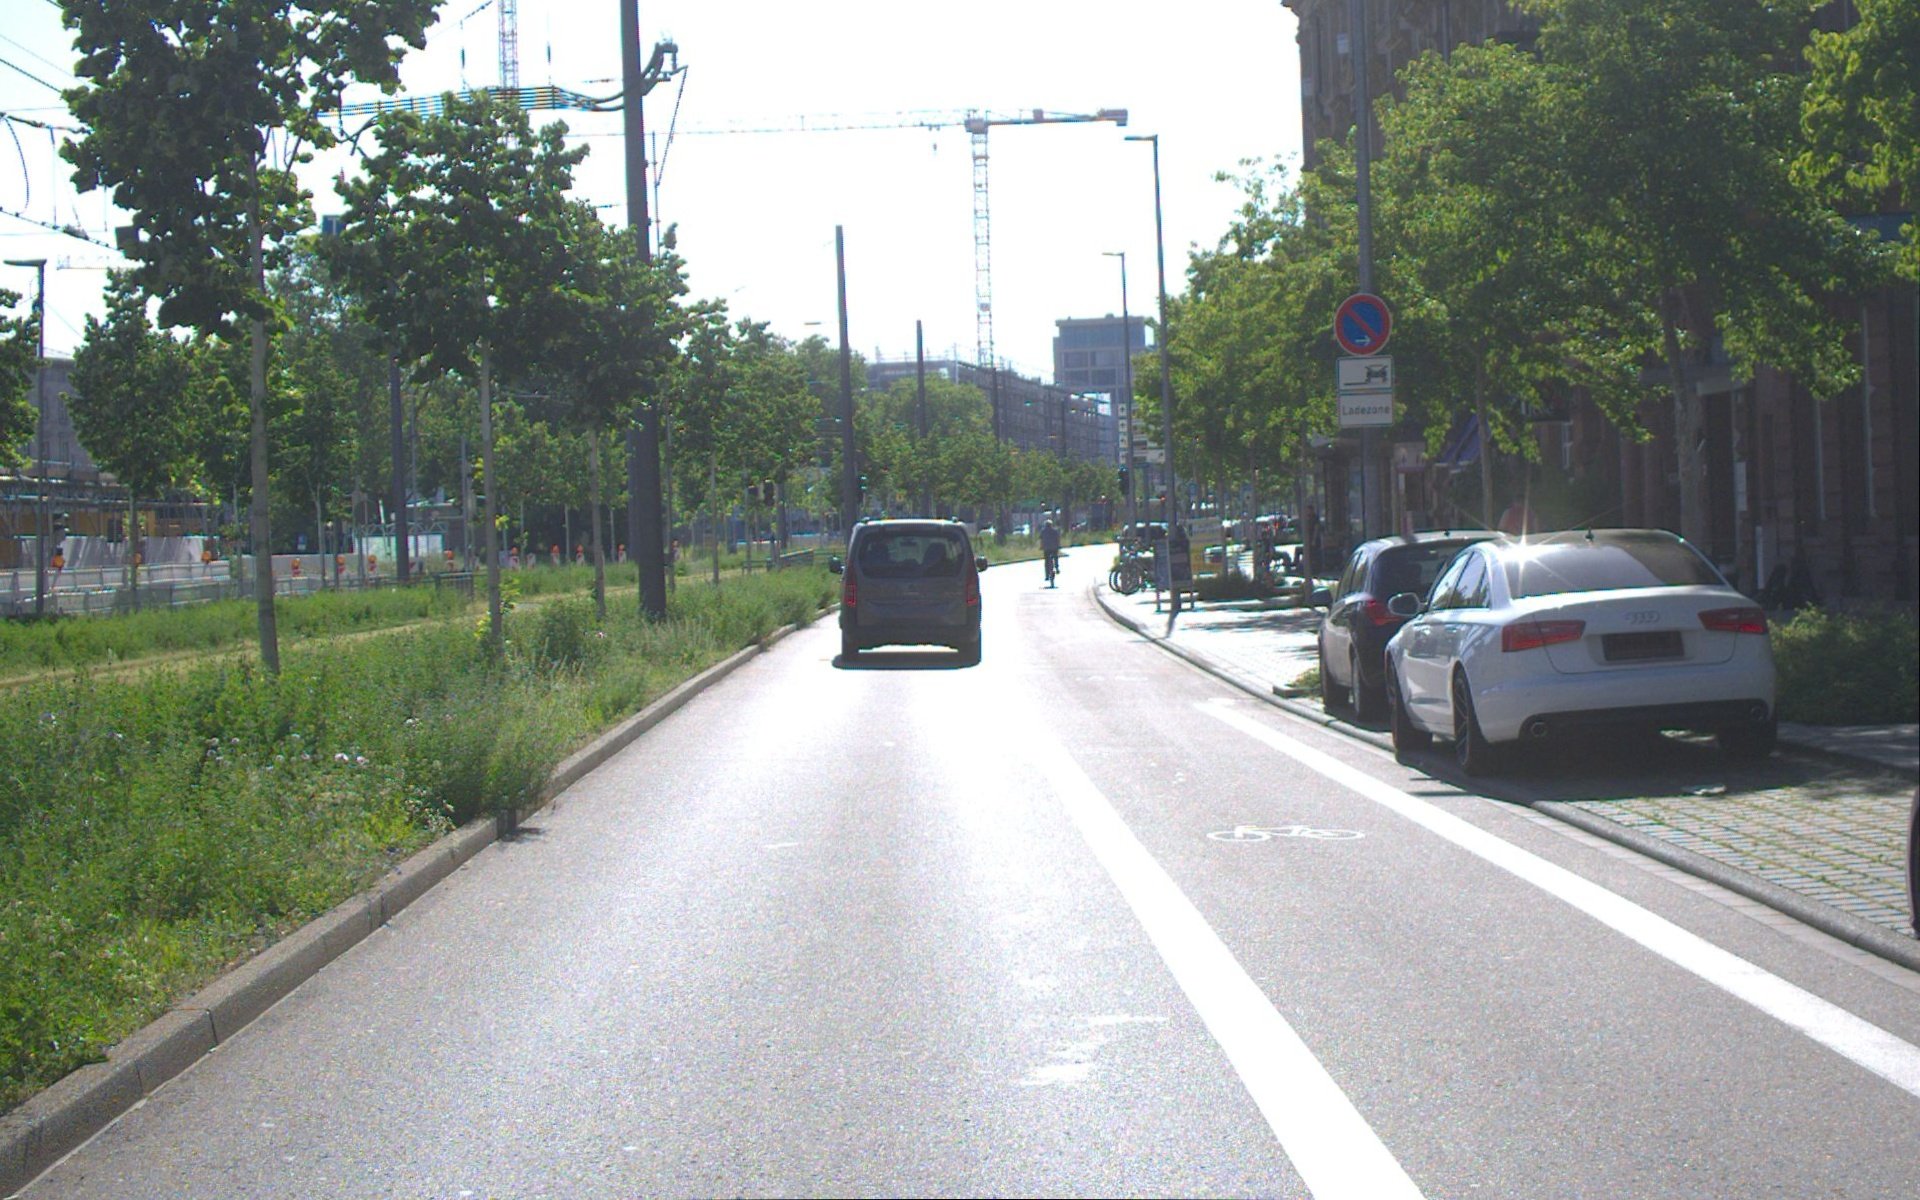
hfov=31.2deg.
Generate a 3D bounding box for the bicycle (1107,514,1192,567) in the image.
[{"bbox_3d":[4.481,-1.406,81.361,1.824,1.075,0.665,-5,1,-6],"label":"bicycle"}]

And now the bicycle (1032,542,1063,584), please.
[{"bbox_3d":[2.357,-1.000,92.812,0.701,1.087,2.277,-2,1,-1],"label":"bicycle"}]

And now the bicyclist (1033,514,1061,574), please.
[{"bbox_3d":[2.348,-1.520,92.828,0.683,1.579,0.840,-2,1,-1],"label":"bicyclist"}]

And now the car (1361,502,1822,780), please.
[{"bbox_3d":[3.956,0.179,22.470,1.951,1.490,5.105,-4,1,0],"label":"car"}]

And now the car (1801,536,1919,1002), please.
[{"bbox_3d":[3.974,0.501,9.765,1.765,1.472,4.449,-4,1,-3],"label":"car"}]

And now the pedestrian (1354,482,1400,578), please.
[{"bbox_3d":[8.926,-1.498,73.648,0.817,2.007,1.046,-1,-1,0],"label":"pedestrian"}]

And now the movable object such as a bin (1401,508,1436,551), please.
[{"bbox_3d":[9.960,-1.527,74.722,0.604,0.913,0.650,-2,2,-5],"label":"movable object such as a bin"}]

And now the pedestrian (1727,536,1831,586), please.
[{"bbox_3d":[10.246,-0.500,43.078,0.773,0.551,2.008,-2,2,-1],"label":"pedestrian"}]

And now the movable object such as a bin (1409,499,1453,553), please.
[{"bbox_3d":[9.808,-1.546,71.591,0.725,1.094,0.748,-2,2,-5],"label":"movable object such as a bin"}]

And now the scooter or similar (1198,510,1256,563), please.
[{"bbox_3d":[5.978,-1.423,76.973,1.220,1.102,0.783,-3,2,3],"label":"scooter or similar"}]

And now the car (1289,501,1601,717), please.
[{"bbox_3d":[4.023,0.043,29.205,1.884,1.564,4.221,-4,1,-1],"label":"car"}]

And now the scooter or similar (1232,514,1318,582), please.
[{"bbox_3d":[6.136,-1.015,67.006,1.473,1.212,0.602,-5,3,-10],"label":"scooter or similar"}]

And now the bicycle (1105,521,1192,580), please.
[{"bbox_3d":[4.382,-1.151,79.830,1.878,1.229,0.500,-5,1,-6],"label":"bicycle"}]

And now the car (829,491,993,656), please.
[{"bbox_3d":[-0.629,-0.355,44.437,1.993,2.007,4.000,-1,1,-1],"label":"car"}]

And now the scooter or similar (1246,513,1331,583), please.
[{"bbox_3d":[6.332,-1.006,66.240,1.473,1.212,0.602,-4,2,-4],"label":"scooter or similar"}]

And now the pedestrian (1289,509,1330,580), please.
[{"bbox_3d":[8.775,-1.401,86.313,0.844,1.736,0.886,-3,1,0],"label":"pedestrian"}]

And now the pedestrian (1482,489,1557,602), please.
[{"bbox_3d":[8.723,-0.851,53.642,0.996,1.725,0.866,-1,1,-1],"label":"pedestrian"}]
